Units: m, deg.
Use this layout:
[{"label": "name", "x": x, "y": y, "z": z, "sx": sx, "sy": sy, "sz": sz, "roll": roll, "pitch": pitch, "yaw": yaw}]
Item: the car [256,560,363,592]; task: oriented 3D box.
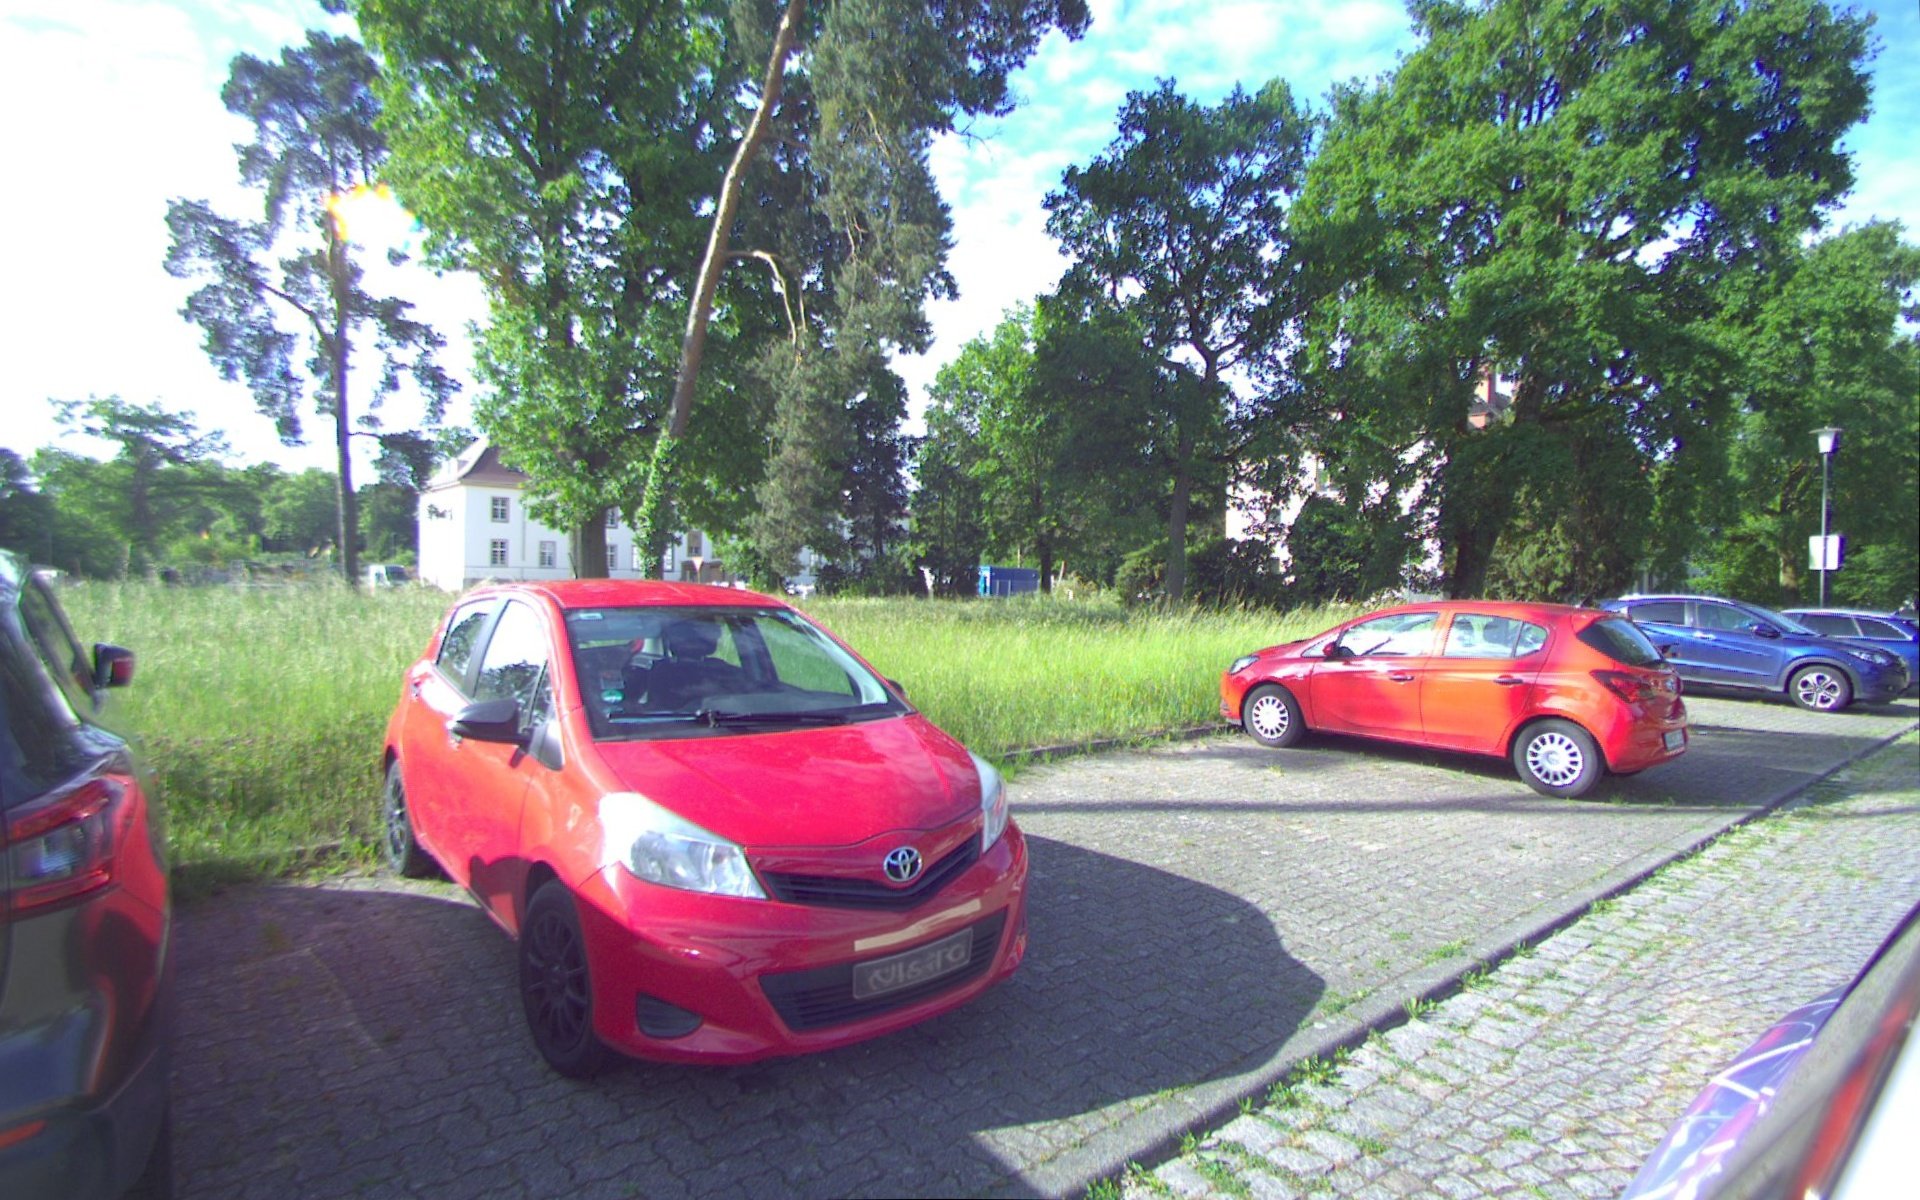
[{"label": "car", "x": -45.287, "y": -1.668, "z": 70.569, "sx": 5.896, "sy": 2.198, "sz": 2.378, "roll": 0, "pitch": 1, "yaw": -3}]

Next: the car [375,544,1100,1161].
[{"label": "car", "x": -1.329, "y": 0.590, "z": 4.519, "sx": 1.616, "sy": 1.549, "sz": 3.771, "roll": 1, "pitch": 1, "yaw": -39}]

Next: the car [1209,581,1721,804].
[{"label": "car", "x": 4.380, "y": 0.642, "z": 9.237, "sx": 1.617, "sy": 1.497, "sz": 3.834, "roll": 1, "pitch": 2, "yaw": -41}]

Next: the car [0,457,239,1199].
[{"label": "car", "x": -3.137, "y": 0.566, "z": 2.588, "sx": 1.741, "sy": 1.642, "sz": 3.943, "roll": 0, "pitch": 2, "yaw": -41}]

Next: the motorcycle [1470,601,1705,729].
[{"label": "motorcycle", "x": 7.592, "y": 0.725, "z": 12.370, "sx": 0.713, "sy": 1.336, "sz": 2.305, "roll": 1, "pitch": 2, "yaw": -40}]

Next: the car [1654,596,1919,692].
[{"label": "car", "x": 15.721, "y": 0.748, "z": 18.687, "sx": 1.682, "sy": 1.425, "sz": 4.464, "roll": 1, "pitch": 2, "yaw": -37}]

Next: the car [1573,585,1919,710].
[{"label": "car", "x": 12.159, "y": 0.618, "z": 15.710, "sx": 1.720, "sy": 1.611, "sz": 4.185, "roll": 1, "pitch": 1, "yaw": -40}]
